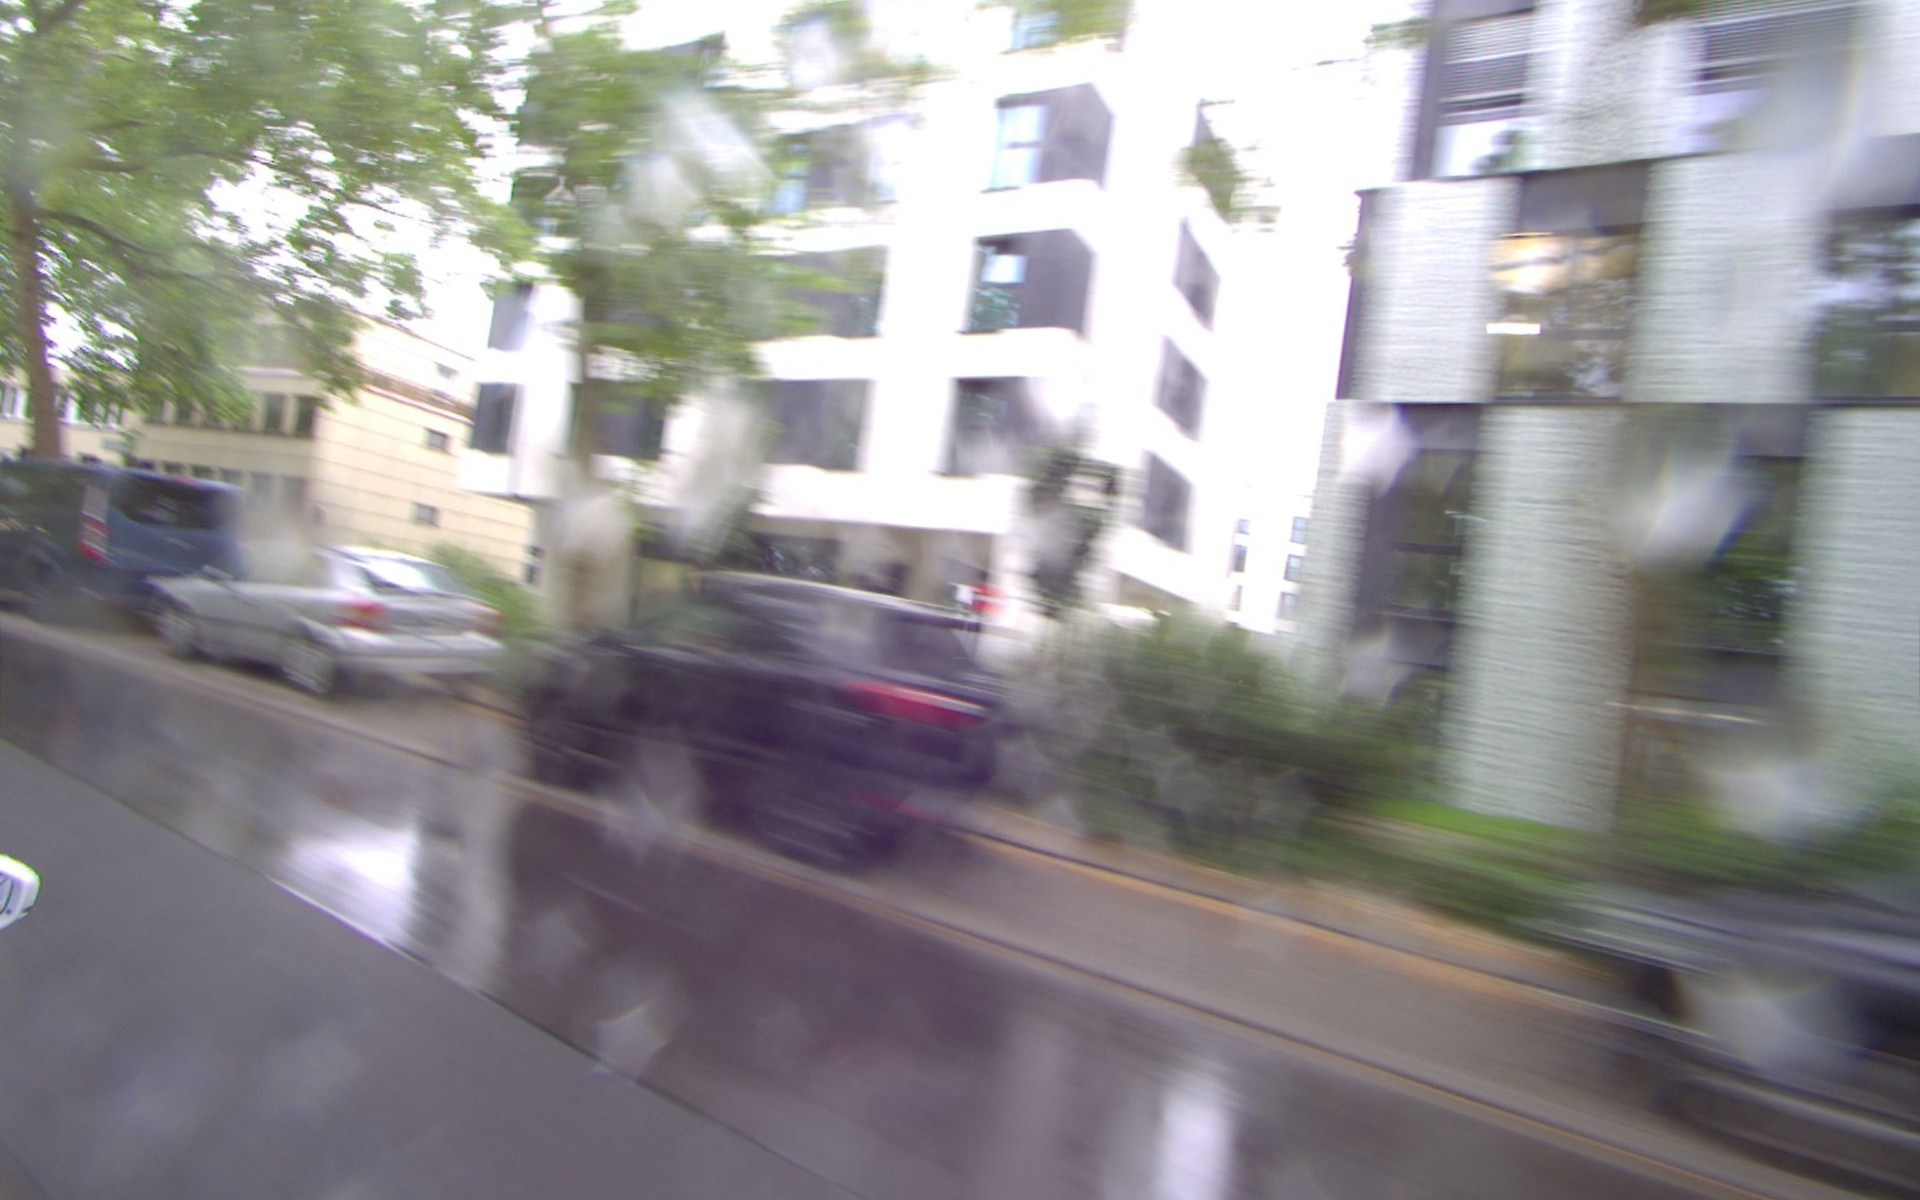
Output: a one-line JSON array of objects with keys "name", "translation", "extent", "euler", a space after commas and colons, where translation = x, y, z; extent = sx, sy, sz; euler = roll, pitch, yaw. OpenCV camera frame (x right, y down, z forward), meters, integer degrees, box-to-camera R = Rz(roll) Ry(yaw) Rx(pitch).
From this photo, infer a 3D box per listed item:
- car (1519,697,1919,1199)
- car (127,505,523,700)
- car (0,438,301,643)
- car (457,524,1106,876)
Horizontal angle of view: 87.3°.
[{"name": "car", "translation": [4.398, 1.419, 3.541], "extent": [4.017, 1.493, 1.746], "euler": [7, -2, 34]}, {"name": "car", "translation": [-6.934, -0.004, 10.897], "extent": [4.233, 1.486, 1.748], "euler": [7, -2, 30]}, {"name": "car", "translation": [-11.474, -0.871, 13.413], "extent": [5.434, 2.051, 2.127], "euler": [7, -2, 30]}, {"name": "car", "translation": [-1.374, 0.541, 7.165], "extent": [4.298, 1.584, 1.748], "euler": [7, -2, 30]}]
